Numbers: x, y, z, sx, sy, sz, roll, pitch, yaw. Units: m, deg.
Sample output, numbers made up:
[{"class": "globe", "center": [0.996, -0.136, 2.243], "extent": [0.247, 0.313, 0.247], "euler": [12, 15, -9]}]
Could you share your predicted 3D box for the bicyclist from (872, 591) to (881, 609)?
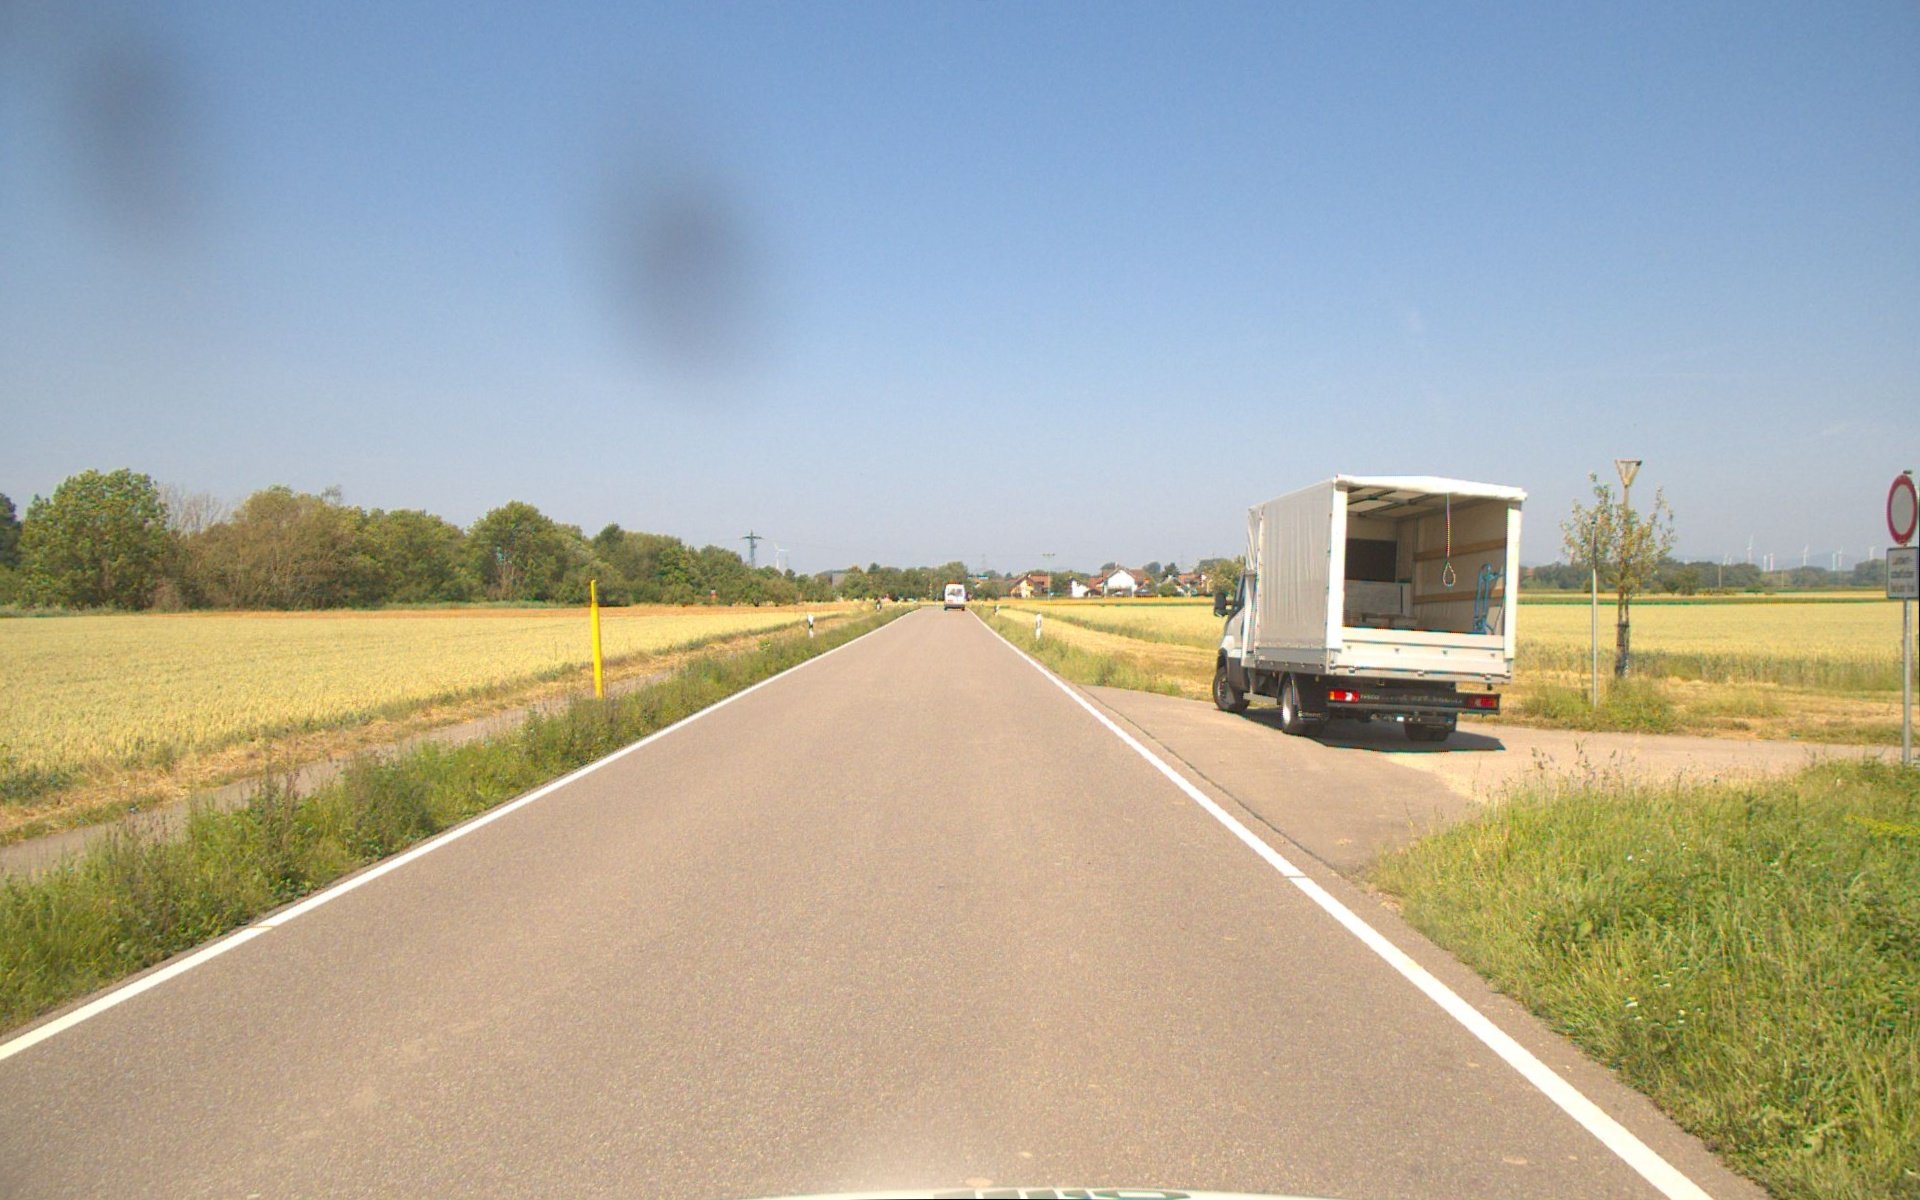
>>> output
[{"class": "bicyclist", "center": [-7.999, 0.038, 159.233], "extent": [0.744, 1.702, 1.088], "euler": [-2, 0, 0]}]

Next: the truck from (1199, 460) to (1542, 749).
[{"class": "truck", "center": [4.909, 0.047, 21.209], "extent": [2.289, 2.993, 7.005], "euler": [3, 0, -2]}]

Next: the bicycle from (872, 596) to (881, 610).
[{"class": "bicycle", "center": [-8.009, 0.269, 159.146], "extent": [0.744, 1.257, 2.394], "euler": [-2, 0, 0]}]

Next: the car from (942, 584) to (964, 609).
[{"class": "car", "center": [-0.710, -0.330, 161.472], "extent": [2.064, 2.344, 5.495], "euler": [1, 0, -1]}]
